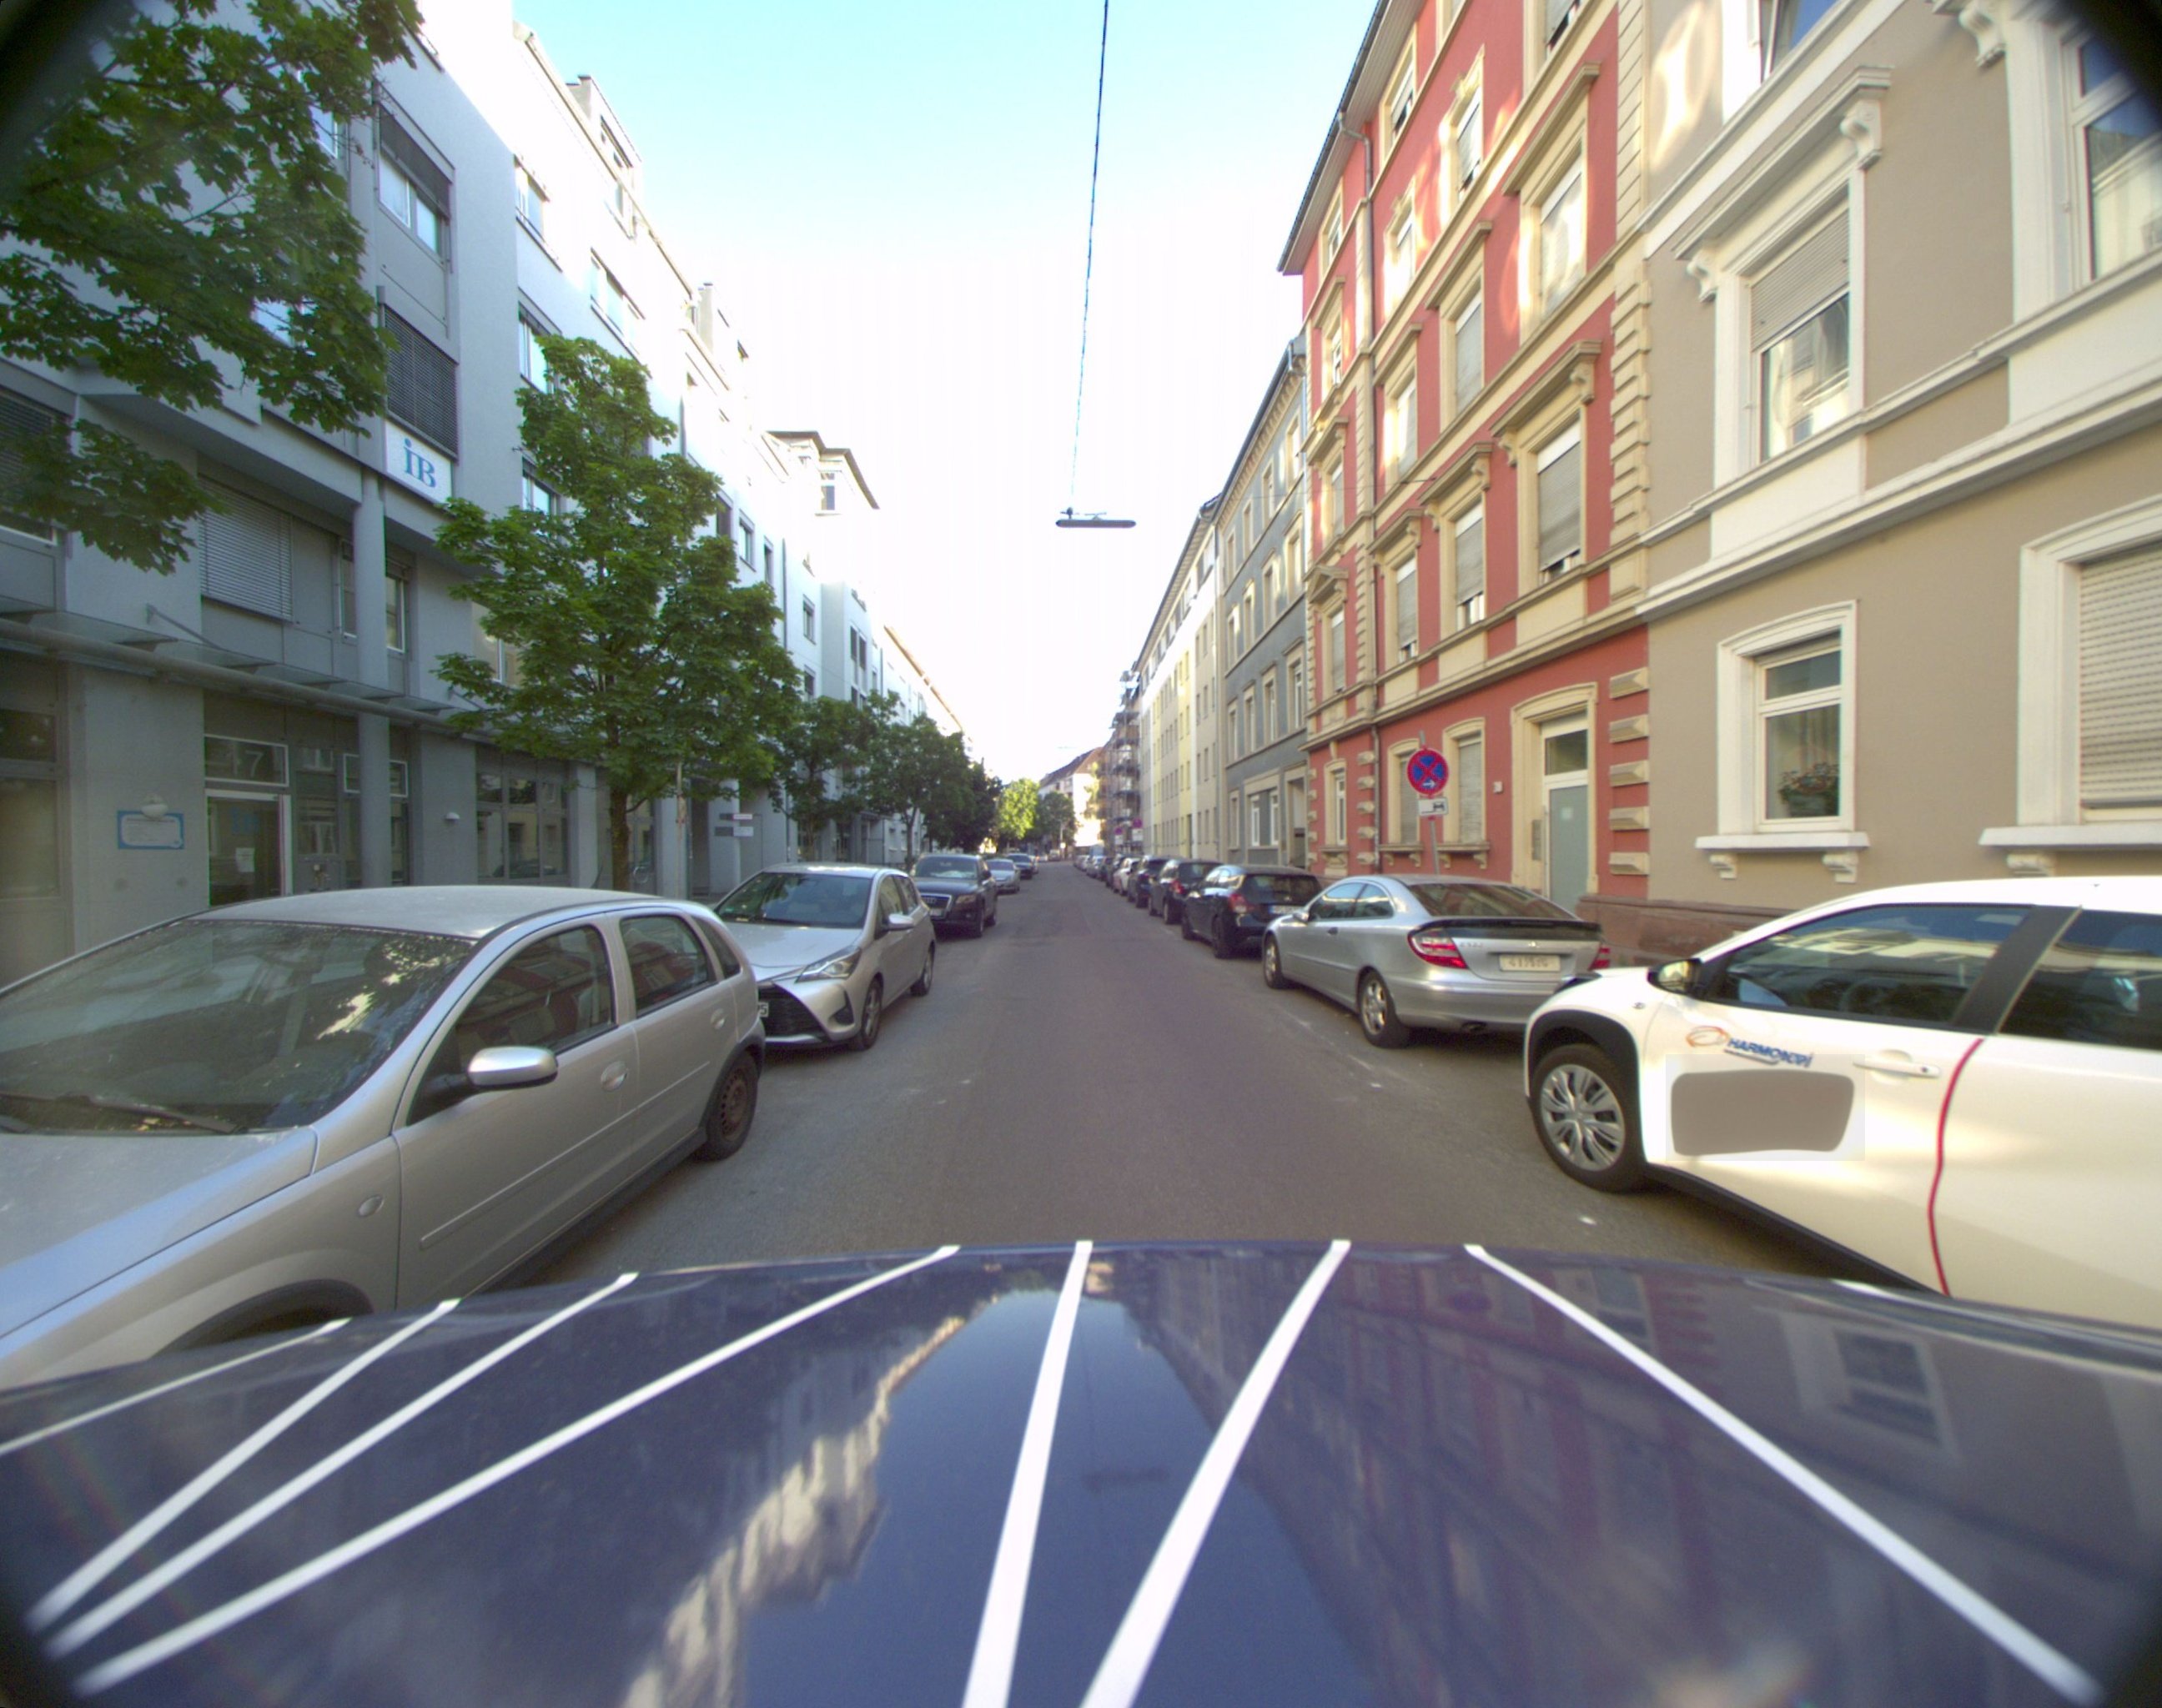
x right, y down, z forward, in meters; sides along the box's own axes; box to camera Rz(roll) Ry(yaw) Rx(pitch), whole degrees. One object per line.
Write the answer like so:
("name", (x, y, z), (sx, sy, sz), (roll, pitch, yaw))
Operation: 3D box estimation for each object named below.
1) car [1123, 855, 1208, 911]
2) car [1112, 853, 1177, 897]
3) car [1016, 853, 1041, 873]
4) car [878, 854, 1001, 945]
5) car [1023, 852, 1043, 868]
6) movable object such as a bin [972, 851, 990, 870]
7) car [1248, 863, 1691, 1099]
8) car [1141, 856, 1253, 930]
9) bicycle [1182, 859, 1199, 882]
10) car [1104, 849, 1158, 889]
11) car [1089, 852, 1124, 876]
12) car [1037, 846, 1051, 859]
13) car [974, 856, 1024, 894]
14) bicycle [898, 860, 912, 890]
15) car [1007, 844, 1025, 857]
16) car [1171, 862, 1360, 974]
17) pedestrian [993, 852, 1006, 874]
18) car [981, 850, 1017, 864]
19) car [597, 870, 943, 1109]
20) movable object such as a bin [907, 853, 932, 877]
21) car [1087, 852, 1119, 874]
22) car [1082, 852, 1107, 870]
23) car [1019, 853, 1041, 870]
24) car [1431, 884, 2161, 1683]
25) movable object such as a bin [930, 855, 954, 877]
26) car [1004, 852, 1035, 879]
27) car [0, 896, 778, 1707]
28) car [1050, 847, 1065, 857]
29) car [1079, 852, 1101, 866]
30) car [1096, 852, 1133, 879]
("car", (2.503, 0.819, 23.553), (1.926, 1.551, 4.265), (1, 0, -3))
("car", (2.361, 0.753, 29.453), (1.926, 1.551, 4.265), (1, 0, -3))
("car", (-4.137, 0.660, 59.933), (1.680, 1.474, 3.652), (1, 1, 1))
("car", (-2.836, 0.840, 16.194), (1.890, 1.613, 4.433), (1, 1, -2))
("car", (-4.470, 0.526, 71.066), (1.681, 1.411, 4.134), (1, 1, -2))
("movable object such as a bin", (-7.915, 0.513, 60.039), (1.288, 1.428, 1.223), (0, 1, -2))
("car", (3.164, 0.913, 7.373), (1.926, 1.551, 4.265), (1, 0, -3))
("car", (2.704, 0.862, 18.739), (1.906, 1.551, 4.239), (1, 0, -3))
("bicycle", (5.197, 0.770, 36.136), (0.451, 1.068, 1.751), (-2, 1, -2))
("car", (2.221, 0.634, 34.830), (1.926, 1.654, 4.467), (1, 0, -3))
("car", (1.632, 0.611, 49.734), (1.928, 1.480, 4.616), (1, 1, -3))
("car", (-6.039, -0.203, 125.067), (1.999, 2.002, 3.999), (-2, 1, -1))
("car", (-3.456, 0.852, 32.662), (1.768, 1.421, 4.343), (1, 1, -2))
("bicycle", (-7.130, 0.831, 30.828), (0.522, 1.161, 1.738), (1, 1, -12))
("car", (-12.000, -0.729, 140.519), (2.163, 2.270, 6.199), (1, 1, -15))
("car", (2.845, 0.924, 12.766), (1.926, 1.475, 4.265), (1, 0, -3))
("pedestrian", (-5.449, 0.597, 50.877), (0.802, 1.455, 0.870), (1, 1, -3))
("car", (-9.504, 0.351, 88.350), (3.998, 1.556, 1.999), (1, 1, -4))
("car", (-2.502, 0.977, 7.224), (1.681, 1.516, 3.969), (1, 1, -1))
("movable object such as a bin", (-9.632, 0.638, 45.285), (1.265, 1.428, 1.138), (0, 1, -2))
("car", (1.548, 0.588, 55.102), (1.928, 1.480, 4.615), (1, 1, -3))
("car", (1.221, 0.618, 69.547), (1.999, 1.496, 3.998), (1, 1, -3))
("car", (-4.308, 0.625, 64.879), (1.681, 1.411, 4.135), (1, 1, -2))
("car", (3.164, 0.956, 2.572), (1.925, 1.498, 4.266), (1, 0, 0))
("movable object such as a bin", (-8.335, 0.697, 45.580), (1.265, 1.313, 1.138), (0, 1, -2))
("car", (-3.936, 0.695, 49.333), (1.876, 1.626, 4.720), (1, 1, -3))
("car", (-2.605, 1.001, 2.475), (1.680, 1.467, 3.729), (1, 1, 1))
("car", (-4.112, -0.401, 132.248), (2.081, 1.760, 4.214), (1, 1, -8))
("car", (0.871, 0.491, 79.681), (1.999, 1.423, 3.998), (1, 1, -3))
("car", (1.936, 0.646, 44.887), (1.784, 1.480, 4.419), (1, 1, -2))
